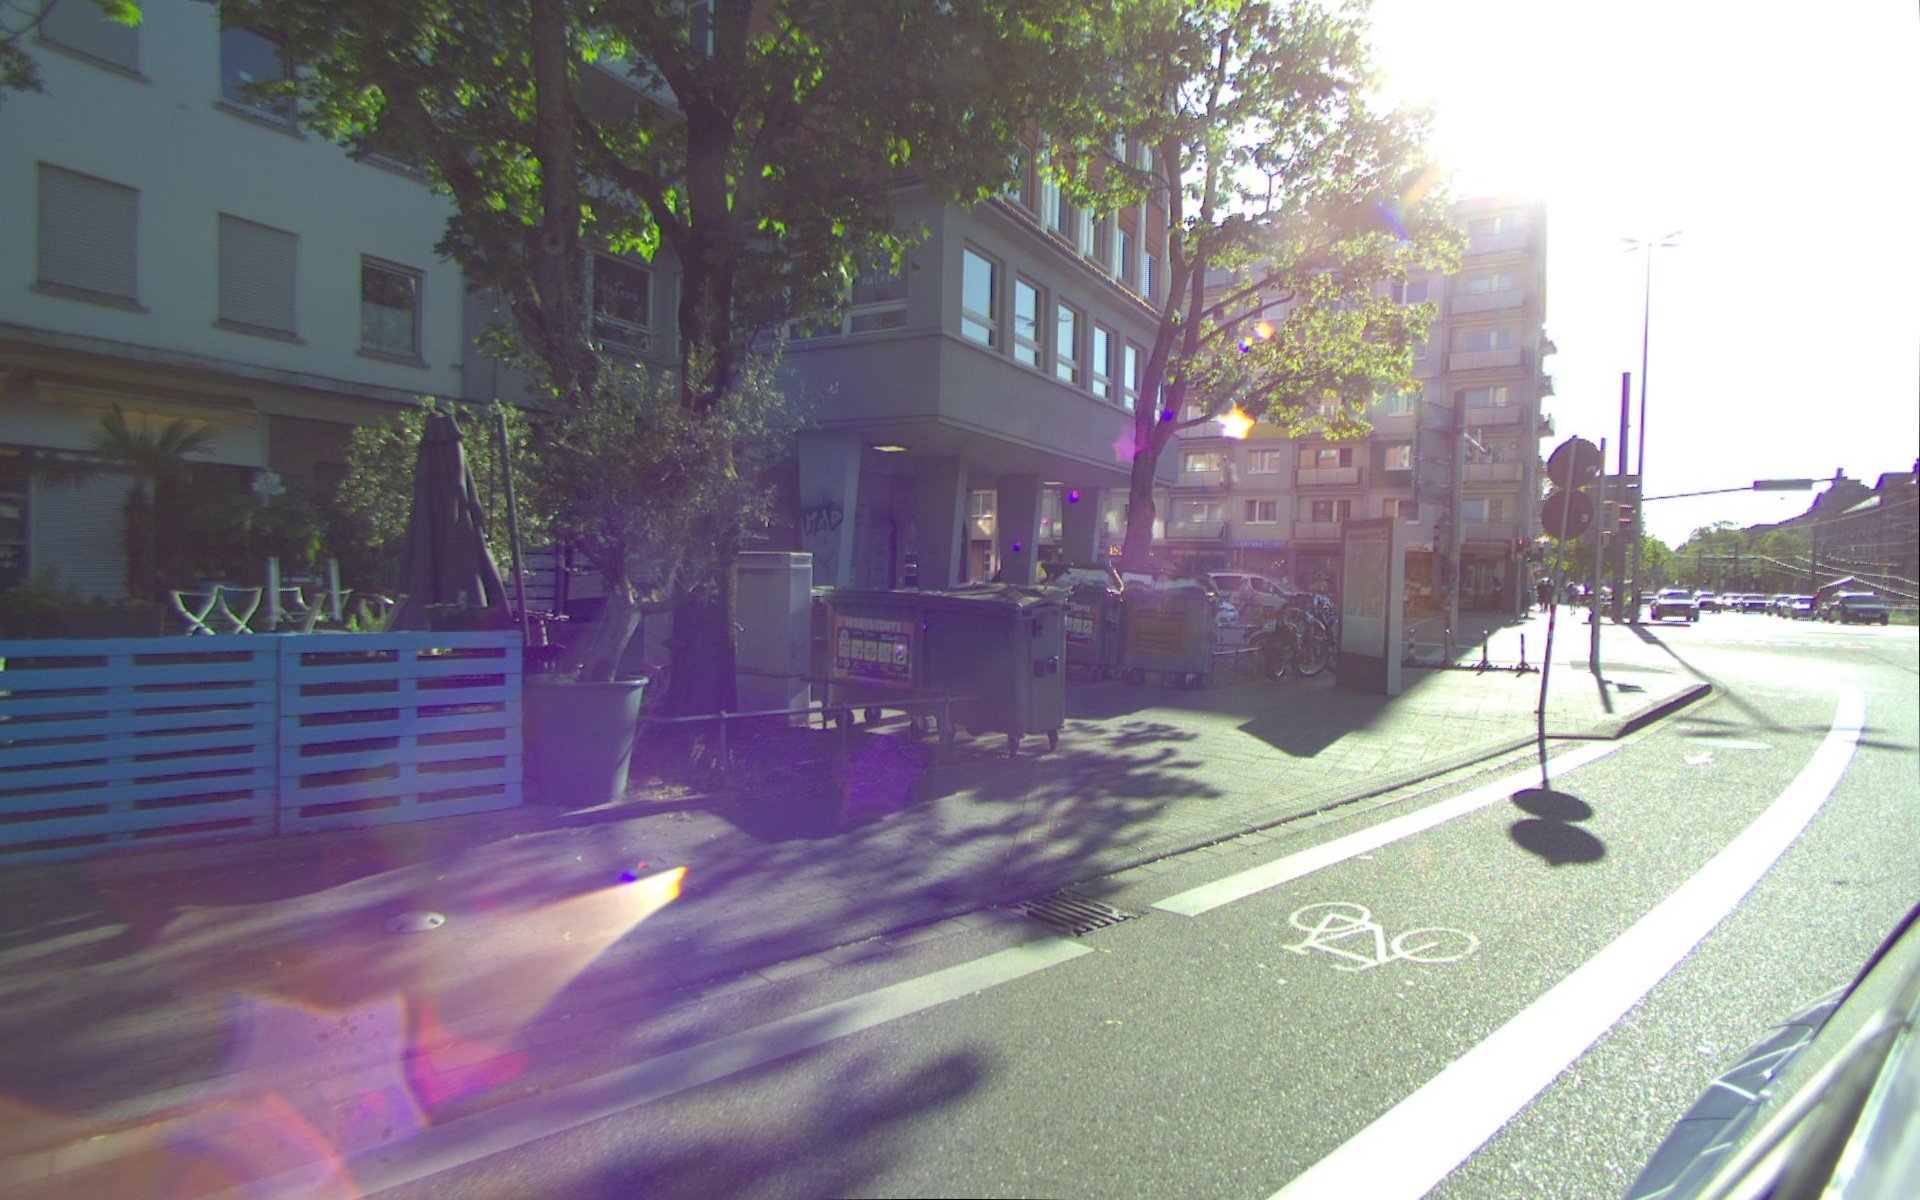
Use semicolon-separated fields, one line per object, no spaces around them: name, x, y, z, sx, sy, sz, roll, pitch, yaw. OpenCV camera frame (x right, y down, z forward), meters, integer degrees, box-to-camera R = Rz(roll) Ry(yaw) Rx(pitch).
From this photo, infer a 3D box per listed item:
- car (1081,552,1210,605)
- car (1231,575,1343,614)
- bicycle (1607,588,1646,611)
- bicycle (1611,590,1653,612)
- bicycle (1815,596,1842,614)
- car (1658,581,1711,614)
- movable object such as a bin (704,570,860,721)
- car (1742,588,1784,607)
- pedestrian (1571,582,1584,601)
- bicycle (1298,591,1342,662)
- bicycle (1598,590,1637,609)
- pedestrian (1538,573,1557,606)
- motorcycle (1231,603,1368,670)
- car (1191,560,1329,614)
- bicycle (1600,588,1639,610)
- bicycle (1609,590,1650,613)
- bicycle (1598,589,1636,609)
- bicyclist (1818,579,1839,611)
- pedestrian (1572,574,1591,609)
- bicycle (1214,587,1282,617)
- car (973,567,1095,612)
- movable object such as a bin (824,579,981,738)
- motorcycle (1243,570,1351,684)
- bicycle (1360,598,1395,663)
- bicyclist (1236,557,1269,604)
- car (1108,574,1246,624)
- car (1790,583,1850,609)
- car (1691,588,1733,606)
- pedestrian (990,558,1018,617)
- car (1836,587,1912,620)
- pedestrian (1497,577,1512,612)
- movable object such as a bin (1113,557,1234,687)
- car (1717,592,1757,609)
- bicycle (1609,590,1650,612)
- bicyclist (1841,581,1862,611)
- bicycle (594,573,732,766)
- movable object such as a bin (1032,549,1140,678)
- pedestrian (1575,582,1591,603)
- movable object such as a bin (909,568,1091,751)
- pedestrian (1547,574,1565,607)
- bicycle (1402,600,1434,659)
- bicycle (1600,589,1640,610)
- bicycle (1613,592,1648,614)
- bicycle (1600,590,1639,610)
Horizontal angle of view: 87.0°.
car;8.316;-0.998;45.567;5.222;2.226;2.348;3;2;35
car;12.850;-0.244;39.822;3.964;1.458;1.830;0;1;29
bicycle;35.884;-0.025;54.535;1.629;1.125;0.526;5;3;28
bicycle;34.703;0.050;52.274;1.689;1.023;0.407;3;2;28
bicycle;48.435;0.246;56.460;0.624;0.951;1.890;0;1;24
car;39.515;-0.176;55.303;1.887;1.708;4.075;2;2;30
movable object such as a bin;-1.774;0.408;10.121;1.207;1.408;0.949;0;1;32
car;59.782;-0.228;75.414;1.844;1.308;4.053;2;2;30
pedestrian;53.258;-0.731;87.281;0.770;1.671;0.661;2;1;42
bicycle;6.912;0.471;19.370;0.529;1.259;1.829;0;1;28
bicycle;38.420;-0.035;59.155;1.806;1.073;0.411;3;2;27
pedestrian;33.520;-0.605;57.729;0.859;1.858;1.198;2;1;29
motorcycle;5.710;0.585;17.074;2.087;1.034;0.754;1;1;32
car;10.965;-0.478;37.055;4.563;1.873;1.926;0;1;31
bicycle;38.066;-0.059;58.429;1.765;1.244;0.411;2;2;26
bicycle;35.220;0.058;53.285;1.740;1.113;0.395;3;2;29
bicycle;38.643;-0.046;59.518;1.806;1.073;0.411;3;2;26
bicyclist;48.425;-0.269;56.438;0.696;1.751;0.847;0;1;25
pedestrian;33.266;-0.457;54.203;0.785;1.799;0.866;2;1;30
bicycle;9.973;0.058;35.037;2.129;1.013;0.852;0;1;29
car;2.630;-0.413;36.292;4.126;1.444;1.562;1;3;29
movable object such as a bin;-0.532;0.493;9.478;1.167;1.373;0.917;0;1;32
motorcycle;5.077;0.347;15.113;0.800;1.559;2.512;0;1;36
bicycle;7.978;0.547;19.292;0.472;1.130;2.100;0;1;27
bicyclist;10.098;-0.668;34.953;0.927;1.579;0.932;0;1;28
car;7.195;-0.053;33.575;4.126;1.520;1.828;0;3;29
car;51.588;-0.272;60.783;1.983;1.447;4.090;0;1;30
car;56.981;-0.245;76.729;1.971;1.308;4.347;2;2;30
pedestrian;1.362;-0.384;31.249;0.842;1.801;0.899;0;1;3
car;46.721;0.154;51.821;1.983;1.556;4.312;0;1;30
pedestrian;27.881;-0.294;51.793;0.566;1.795;0.655;2;1;37
movable object such as a bin;2.898;0.251;13.712;1.373;1.660;0.998;1;2;30
car;63.665;0.034;82.994;1.971;1.308;4.282;2;2;30
bicycle;34.997;0.048;52.935;1.741;1.089;0.402;0;1;29
bicyclist;49.269;-0.227;55.959;0.688;1.680;0.910;0;1;30
bicycle;-2.254;0.443;7.900;0.880;1.266;2.174;1;2;-13
movable object such as a bin;1.805;0.153;14.467;1.249;1.729;0.935;2;3;30
pedestrian;56.641;-0.689;92.051;0.854;1.907;1.218;1;1;14
movable object such as a bin;0.322;0.439;8.579;0.906;1.409;1.282;-1;1;-41
pedestrian;35.258;-0.543;59.853;0.787;1.909;0.863;2;1;37
bicycle;8.581;0.526;18.926;0.472;0.997;2.100;0;1;27
bicycle;37.277;-0.016;57.188;1.806;1.082;0.412;3;3;26
bicycle;34.053;0.138;51.437;1.423;1.023;0.406;4;3;32
bicycle;38.288;0.006;58.778;1.805;1.073;0.411;2;2;26
